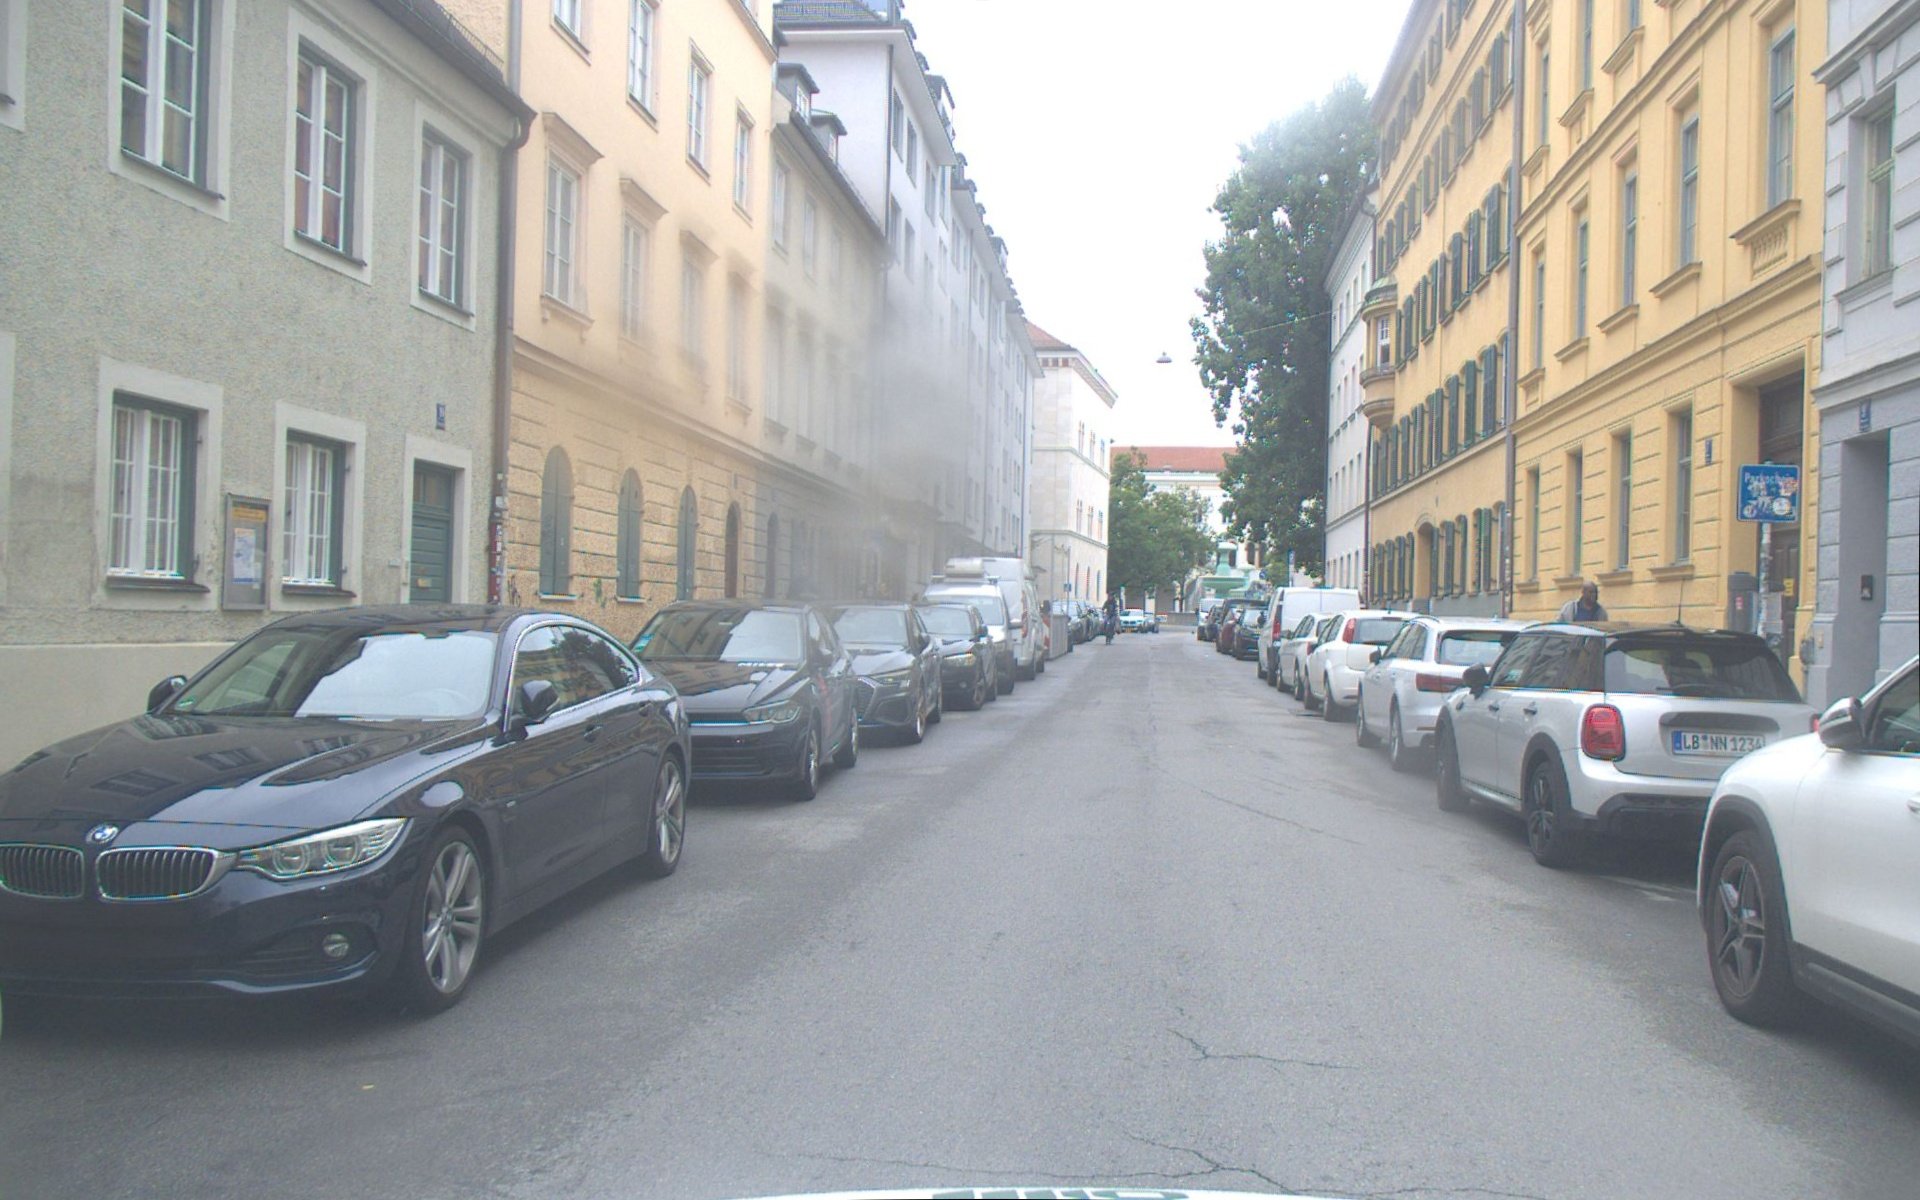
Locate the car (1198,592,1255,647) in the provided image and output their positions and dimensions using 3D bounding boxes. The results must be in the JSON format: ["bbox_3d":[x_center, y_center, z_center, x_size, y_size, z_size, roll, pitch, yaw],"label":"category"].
[{"bbox_3d":[9.619,0.710,60.015,1.807,1.807,4.204,4,0,7],"label":"car"}]

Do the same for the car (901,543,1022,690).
[{"bbox_3d":[0.078,0.263,28.312,1.819,2.240,4.562,2,0,1],"label":"car"}]

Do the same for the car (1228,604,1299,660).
[{"bbox_3d":[8.715,0.884,47.730,1.709,1.489,4.003,1,0,7],"label":"car"}]

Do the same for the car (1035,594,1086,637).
[{"bbox_3d":[3.815,0.561,62.278,1.736,1.566,4.162,0,0,6],"label":"car"}]

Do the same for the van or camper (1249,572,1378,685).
[{"bbox_3d":[7.025,0.527,33.385,1.951,2.049,5.236,1,0,6],"label":"van or camper"}]

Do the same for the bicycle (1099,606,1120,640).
[{"bbox_3d":[5.401,0.831,59.618,0.717,1.171,2.001,2,0,6],"label":"bicycle"}]

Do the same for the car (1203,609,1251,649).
[{"bbox_3d":[11.891,1.264,73.838,1.770,1.628,4.217,2,0,5],"label":"car"}]

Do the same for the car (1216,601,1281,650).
[{"bbox_3d":[9.239,0.805,53.246,1.677,1.449,4.460,2,0,5],"label":"car"}]

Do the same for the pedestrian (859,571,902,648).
[{"bbox_3d":[-1.847,0.220,38.544,0.788,1.741,1.022,1,0,8],"label":"pedestrian"}]

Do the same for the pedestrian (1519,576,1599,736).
[{"bbox_3d":[7.301,0.664,20.196,0.686,1.895,0.805,2,0,5],"label":"pedestrian"}]

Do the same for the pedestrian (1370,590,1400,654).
[{"bbox_3d":[11.275,0.573,43.920,0.584,1.667,0.897,-2,0,5],"label":"pedestrian"}]

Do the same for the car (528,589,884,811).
[{"bbox_3d":[-1.823,0.675,13.318,1.818,1.426,4.272,2,0,5],"label":"car"}]

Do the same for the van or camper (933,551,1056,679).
[{"bbox_3d":[0.792,0.273,33.762,1.951,2.351,5.482,1,0,7],"label":"van or camper"}]

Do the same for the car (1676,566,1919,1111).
[{"bbox_3d":[3.715,0.730,4.846,1.680,1.629,4.326,1,0,5],"label":"car"}]

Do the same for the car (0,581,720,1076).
[{"bbox_3d":[-2.455,0.682,7.165,1.818,1.426,4.272,2,0,5],"label":"car"}]

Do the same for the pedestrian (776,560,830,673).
[{"bbox_3d":[-2.895,0.306,30.598,0.788,2.049,0.750,1,0,8],"label":"pedestrian"}]

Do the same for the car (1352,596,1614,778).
[{"bbox_3d":[5.085,0.762,16.663,1.680,1.536,4.472,1,0,7],"label":"car"}]

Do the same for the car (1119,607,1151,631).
[{"bbox_3d":[11.584,1.267,109.510,1.740,1.562,4.215,0,-1,11],"label":"car"}]

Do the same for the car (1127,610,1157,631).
[{"bbox_3d":[12.790,1.450,115.802,1.662,1.417,4.215,0,-1,12],"label":"car"}]

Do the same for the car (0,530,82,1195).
[{"bbox_3d":[-3.068,0.579,2.401,1.536,1.541,3.425,2,0,4],"label":"car"}]

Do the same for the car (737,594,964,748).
[{"bbox_3d":[-1.074,0.699,18.339,1.818,1.426,4.272,2,0,5],"label":"car"}]

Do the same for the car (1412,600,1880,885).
[{"bbox_3d":[4.351,0.791,11.173,1.681,1.536,3.938,1,0,3],"label":"car"}]

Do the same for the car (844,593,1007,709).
[{"bbox_3d":[-0.388,0.657,23.473,1.818,1.426,4.272,2,0,5],"label":"car"}]

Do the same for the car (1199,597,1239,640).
[{"bbox_3d":[12.516,0.868,79.967,1.842,1.958,4.878,2,0,9],"label":"car"}]

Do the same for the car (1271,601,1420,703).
[{"bbox_3d":[6.417,0.810,28.003,1.777,1.536,4.590,1,0,5],"label":"car"}]

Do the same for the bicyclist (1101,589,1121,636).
[{"bbox_3d":[5.433,0.448,59.577,0.672,1.655,0.853,2,0,5],"label":"bicyclist"}]

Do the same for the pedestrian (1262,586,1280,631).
[{"bbox_3d":[15.743,0.441,83.815,0.776,2.236,0.814,2,0,6],"label":"pedestrian"}]

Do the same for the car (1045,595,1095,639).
[{"bbox_3d":[4.534,0.656,67.603,1.832,1.717,4.523,0,0,6],"label":"car"}]

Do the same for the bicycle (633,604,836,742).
[{"bbox_3d":[-1.804,0.566,13.198,1.595,1.060,0.348,0,-1,16],"label":"bicycle"}]

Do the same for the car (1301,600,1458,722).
[{"bbox_3d":[5.807,0.792,23.270,1.589,1.536,3.764,1,0,6],"label":"car"}]
